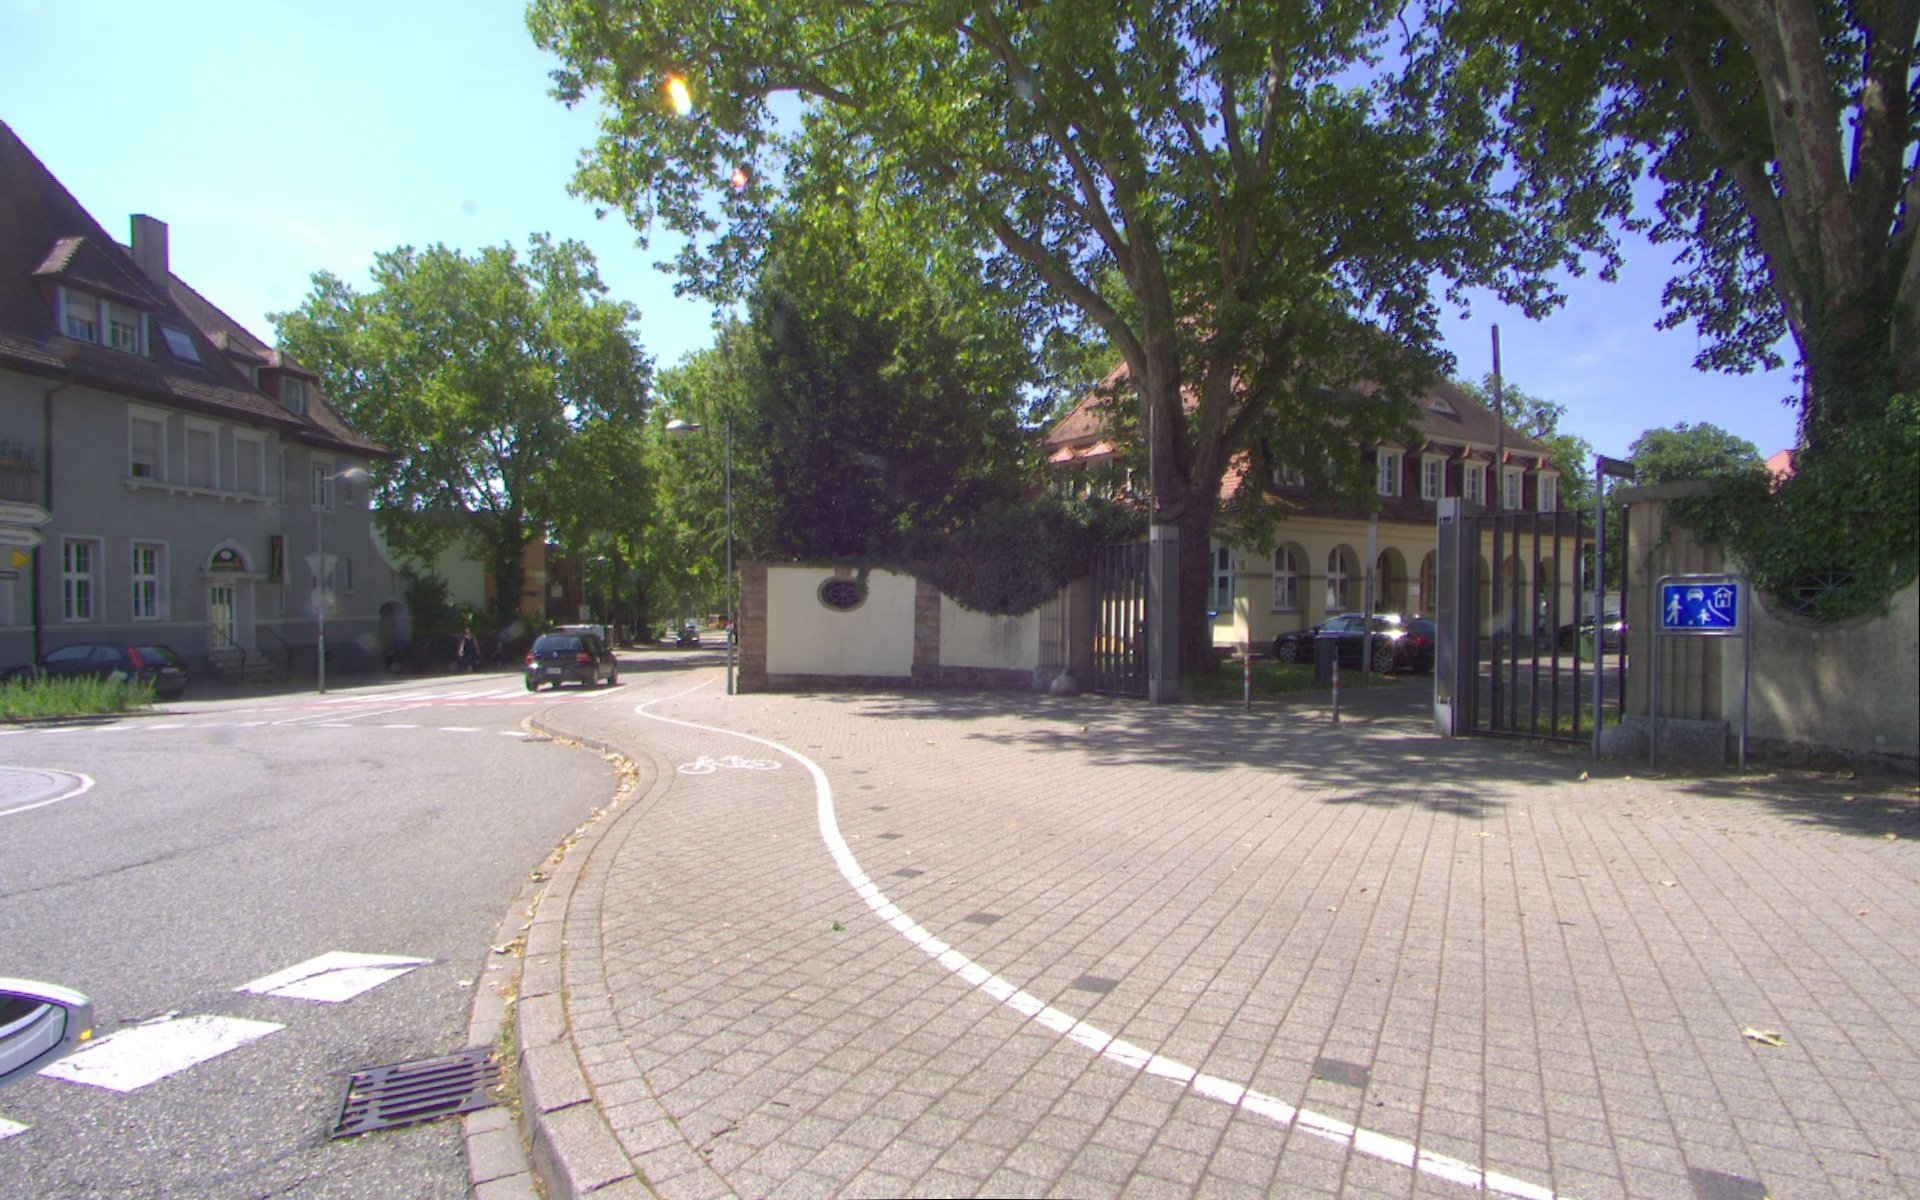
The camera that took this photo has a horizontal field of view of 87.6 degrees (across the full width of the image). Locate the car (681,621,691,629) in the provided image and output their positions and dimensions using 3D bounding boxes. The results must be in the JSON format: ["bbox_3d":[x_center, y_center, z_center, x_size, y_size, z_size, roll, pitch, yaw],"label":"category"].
[{"bbox_3d":[-56.350,5.169,205.969,1.965,1.687,3.996,0,-3,-16],"label":"car"}]

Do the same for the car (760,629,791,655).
[{"bbox_3d":[-12.189,2.747,66.390,1.713,1.577,4.778,-2,0,-8],"label":"car"}]

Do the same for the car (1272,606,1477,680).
[{"bbox_3d":[10.444,1.020,25.582,1.973,1.422,4.471,0,3,-32],"label":"car"}]

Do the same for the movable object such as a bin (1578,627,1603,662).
[{"bbox_3d":[18.430,1.304,29.268,0.530,1.021,0.525,-1,-1,26],"label":"movable object such as a bin"}]

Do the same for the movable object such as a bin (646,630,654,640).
[{"bbox_3d":[-31.353,3.554,101.310,0.613,1.062,0.620,0,-1,-3],"label":"movable object such as a bin"}]

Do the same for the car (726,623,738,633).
[{"bbox_3d":[-40.522,5.026,177.898,1.851,1.706,3.997,0,-3,-14],"label":"car"}]

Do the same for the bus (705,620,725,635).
[{"bbox_3d":[-51.847,5.841,211.619,2.628,3.191,11.169,0,-2,-22],"label":"bus"}]

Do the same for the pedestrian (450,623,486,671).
[{"bbox_3d":[-18.726,1.783,38.117,0.858,1.765,1.112,-1,-1,-3],"label":"pedestrian"}]

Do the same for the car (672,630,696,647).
[{"bbox_3d":[-23.501,3.271,85.345,1.742,1.444,4.389,0,-2,-13],"label":"car"}]

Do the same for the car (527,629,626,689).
[{"bbox_3d":[-10.180,1.518,26.878,1.684,1.466,4.056,0,-1,-9],"label":"car"}]

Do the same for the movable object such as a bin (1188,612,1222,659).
[{"bbox_3d":[6.986,1.018,28.568,0.661,1.313,0.672,0,-1,-42],"label":"movable object such as a bin"}]

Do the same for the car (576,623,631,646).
[{"bbox_3d":[-29.581,2.871,83.206,4.066,1.827,1.902,2,-1,-12],"label":"car"}]

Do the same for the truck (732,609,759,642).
[{"bbox_3d":[-21.786,2.629,101.890,2.333,3.173,5.769,0,-2,-9],"label":"truck"}]

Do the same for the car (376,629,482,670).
[{"bbox_3d":[-21.222,1.971,40.078,3.326,1.566,1.725,-1,-1,1],"label":"car"}]

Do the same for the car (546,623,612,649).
[{"bbox_3d":[-28.633,2.678,75.309,4.356,1.827,1.902,2,-1,-12],"label":"car"}]

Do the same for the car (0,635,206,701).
[{"bbox_3d":[-20.690,1.607,24.154,3.719,1.479,1.725,-1,-1,1],"label":"car"}]

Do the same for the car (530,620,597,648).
[{"bbox_3d":[-27.047,2.337,68.398,3.926,1.815,1.867,2,-1,-12],"label":"car"}]

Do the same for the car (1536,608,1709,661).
[{"bbox_3d":[22.547,1.124,34.238,1.973,1.422,4.471,0,3,-32],"label":"car"}]

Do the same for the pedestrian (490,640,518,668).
[{"bbox_3d":[-18.854,2.212,41.379,0.741,1.136,0.897,-1,-1,0],"label":"pedestrian"}]

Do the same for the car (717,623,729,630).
[{"bbox_3d":[-46.556,5.257,196.517,1.742,1.392,3.720,-1,-1,-21],"label":"car"}]

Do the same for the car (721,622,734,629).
[{"bbox_3d":[-43.835,4.821,188.919,1.743,1.392,3.720,-1,-1,-22],"label":"car"}]
